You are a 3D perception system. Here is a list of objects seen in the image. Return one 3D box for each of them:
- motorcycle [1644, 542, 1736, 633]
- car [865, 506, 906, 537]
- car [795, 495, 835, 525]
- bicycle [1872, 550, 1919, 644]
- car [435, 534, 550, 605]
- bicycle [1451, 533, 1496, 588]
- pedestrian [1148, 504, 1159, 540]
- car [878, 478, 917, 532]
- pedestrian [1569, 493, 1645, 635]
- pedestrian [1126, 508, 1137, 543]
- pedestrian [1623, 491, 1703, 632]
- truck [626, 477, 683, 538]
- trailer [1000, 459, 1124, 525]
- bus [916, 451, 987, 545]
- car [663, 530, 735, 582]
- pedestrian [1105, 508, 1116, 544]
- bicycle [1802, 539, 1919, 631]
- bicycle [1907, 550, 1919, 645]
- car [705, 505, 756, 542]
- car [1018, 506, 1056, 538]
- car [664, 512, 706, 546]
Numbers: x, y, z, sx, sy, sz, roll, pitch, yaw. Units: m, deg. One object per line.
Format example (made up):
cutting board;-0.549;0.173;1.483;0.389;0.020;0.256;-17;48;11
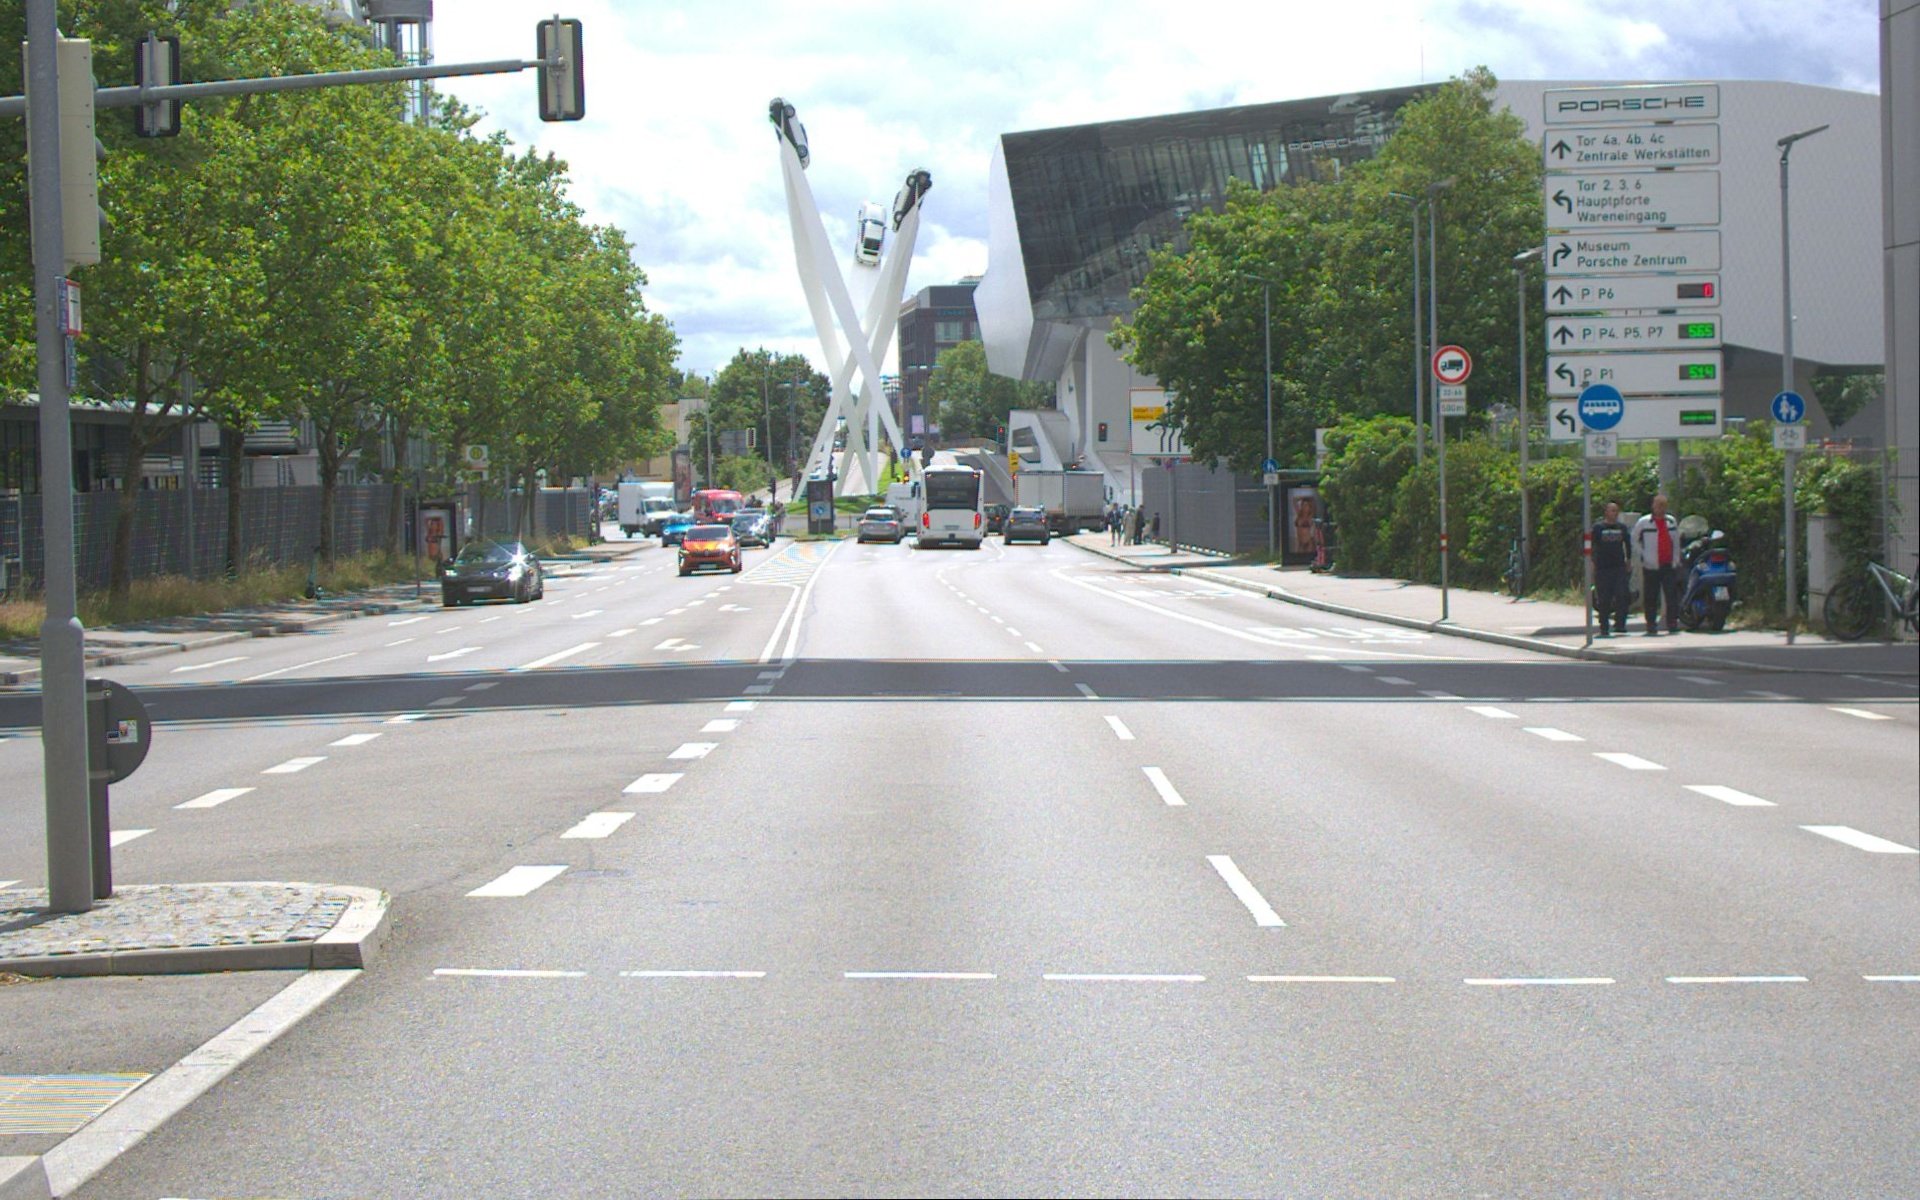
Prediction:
motorcycle;9.546;-0.166;45.014;0.418;1.162;1.957;1;1;-11
car;-3.221;-3.406;148.620;1.557;1.269;3.701;-3;1;1
car;-6.555;-4.051;155.495;1.557;1.269;3.701;-3;1;0
bicycle;11.662;-0.019;39.530;2.222;1.083;0.476;1;1;35
car;-10.707;-0.735;79.100;1.917;1.483;4.772;-3;1;0
bicycle;9.738;-0.743;65.255;0.418;1.019;1.913;1;1;-5
pedestrian;7.809;-3.141;138.653;0.386;1.416;0.423;1;0;0
car;-3.129;-4.732;171.397;1.843;2.614;4.000;1;1;-2
pedestrian;8.395;-0.470;44.645;0.641;1.787;0.712;-3;1;-16
pedestrian;6.864;-2.983;137.641;0.386;1.416;0.423;1;0;0
pedestrian;9.113;-0.504;44.592;0.691;1.787;0.712;-3;1;-16
truck;-17.430;-5.244;196.540;2.591;3.312;7.079;1;1;0
trailer;5.188;-5.368;172.122;3.322;2.984;10.366;1;1;19
bus;-0.311;-4.116;140.865;2.787;3.673;6.943;1;1;0
car;-7.629;-1.313;100.835;1.769;1.415;3.701;-3;1;0
pedestrian;6.027;-2.975;137.872;0.386;1.416;0.423;1;0;0
bicycle;11.171;-0.176;40.860;2.222;1.083;0.476;1;1;35
bicycle;11.835;-0.009;38.770;2.191;1.083;0.476;1;1;35
car;-9.457;-3.171;141.903;1.769;1.415;3.701;-3;1;0
car;3.256;-3.316;146.248;1.557;1.269;3.701;-3;1;1
car;-12.821;-3.309;160.471;1.797;1.568;4.001;0;1;-2
